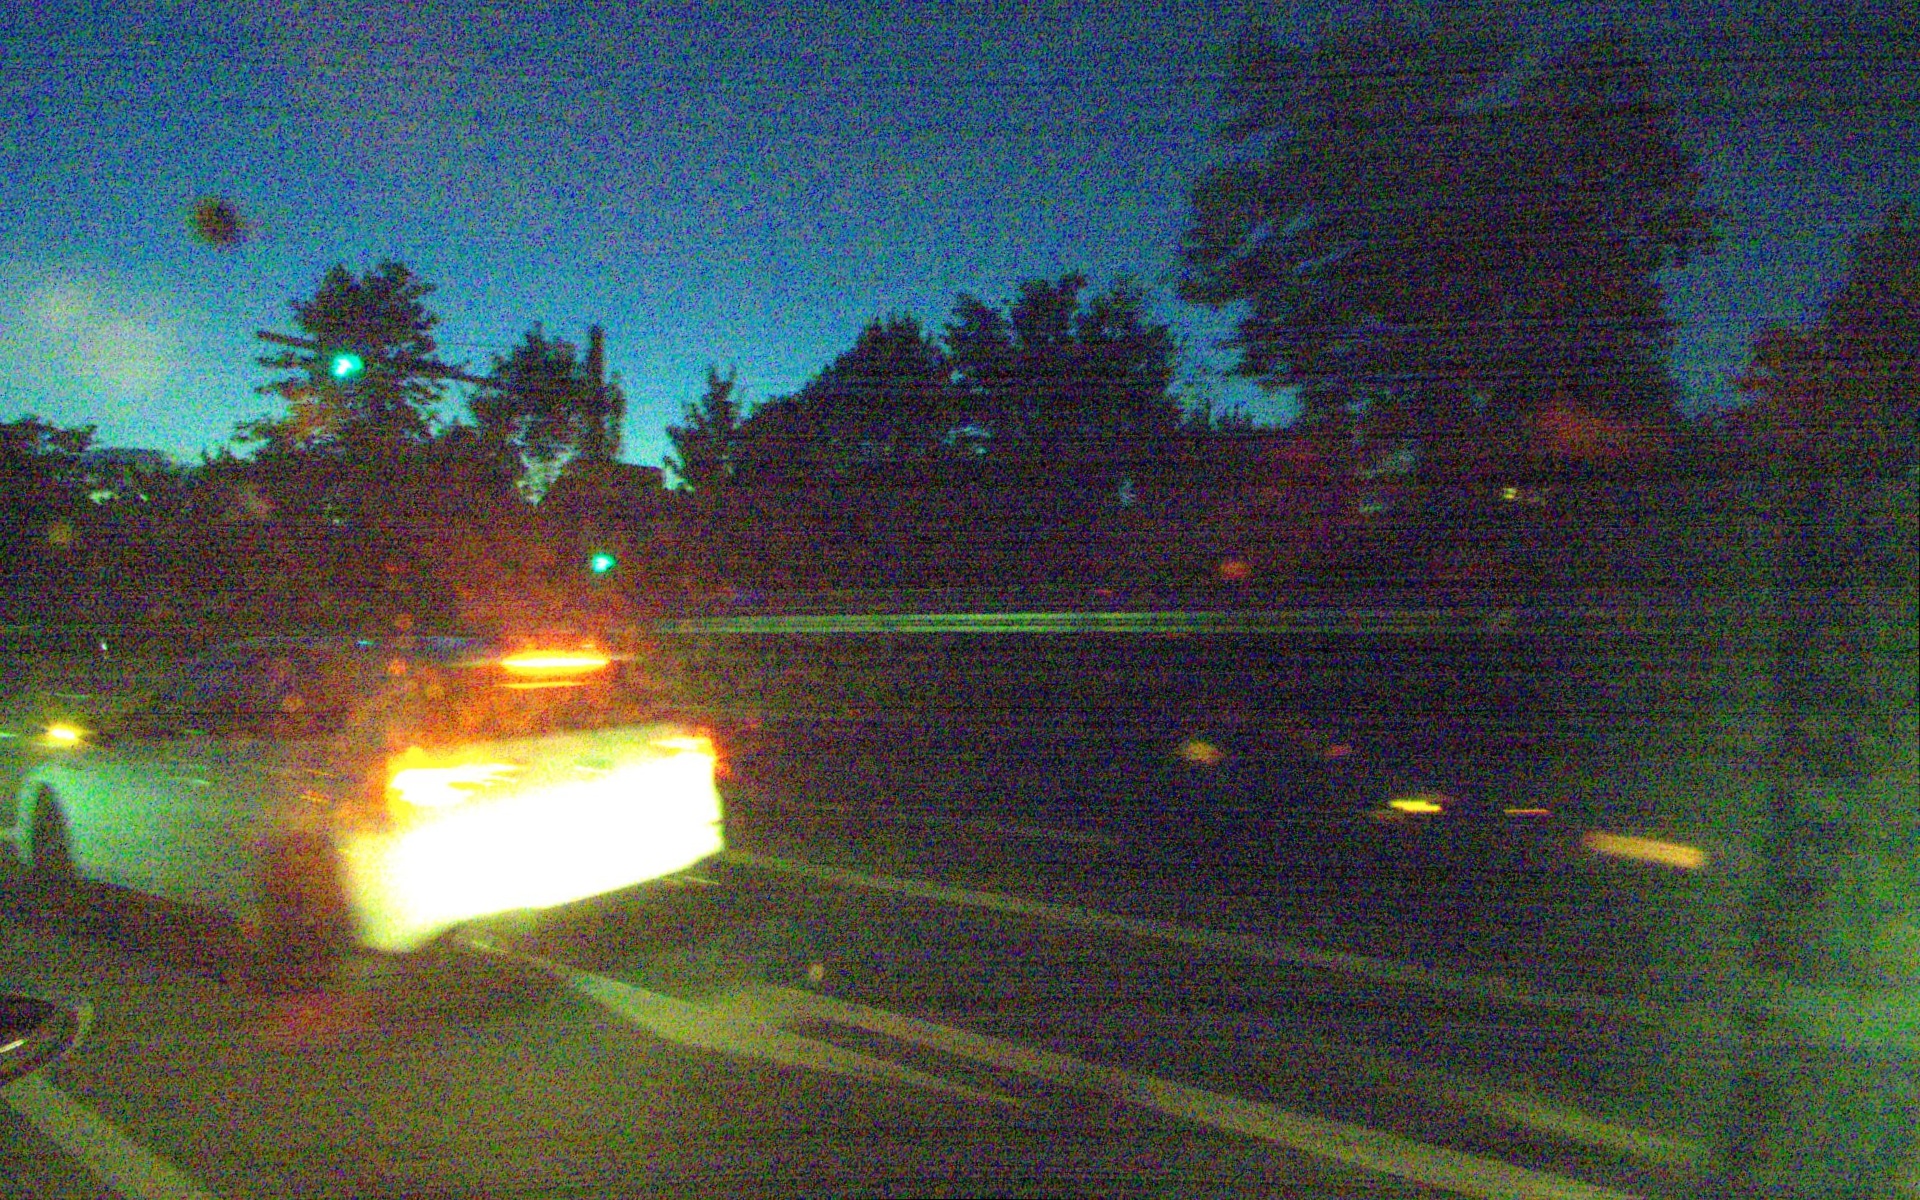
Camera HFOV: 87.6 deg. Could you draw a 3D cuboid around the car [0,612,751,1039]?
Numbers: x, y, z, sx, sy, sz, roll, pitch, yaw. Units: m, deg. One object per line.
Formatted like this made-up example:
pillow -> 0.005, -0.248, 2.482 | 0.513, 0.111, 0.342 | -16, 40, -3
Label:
car -> -3.263, 0.819, 5.327 | 4.131, 1.478, 1.756 | 0, -1, 31
